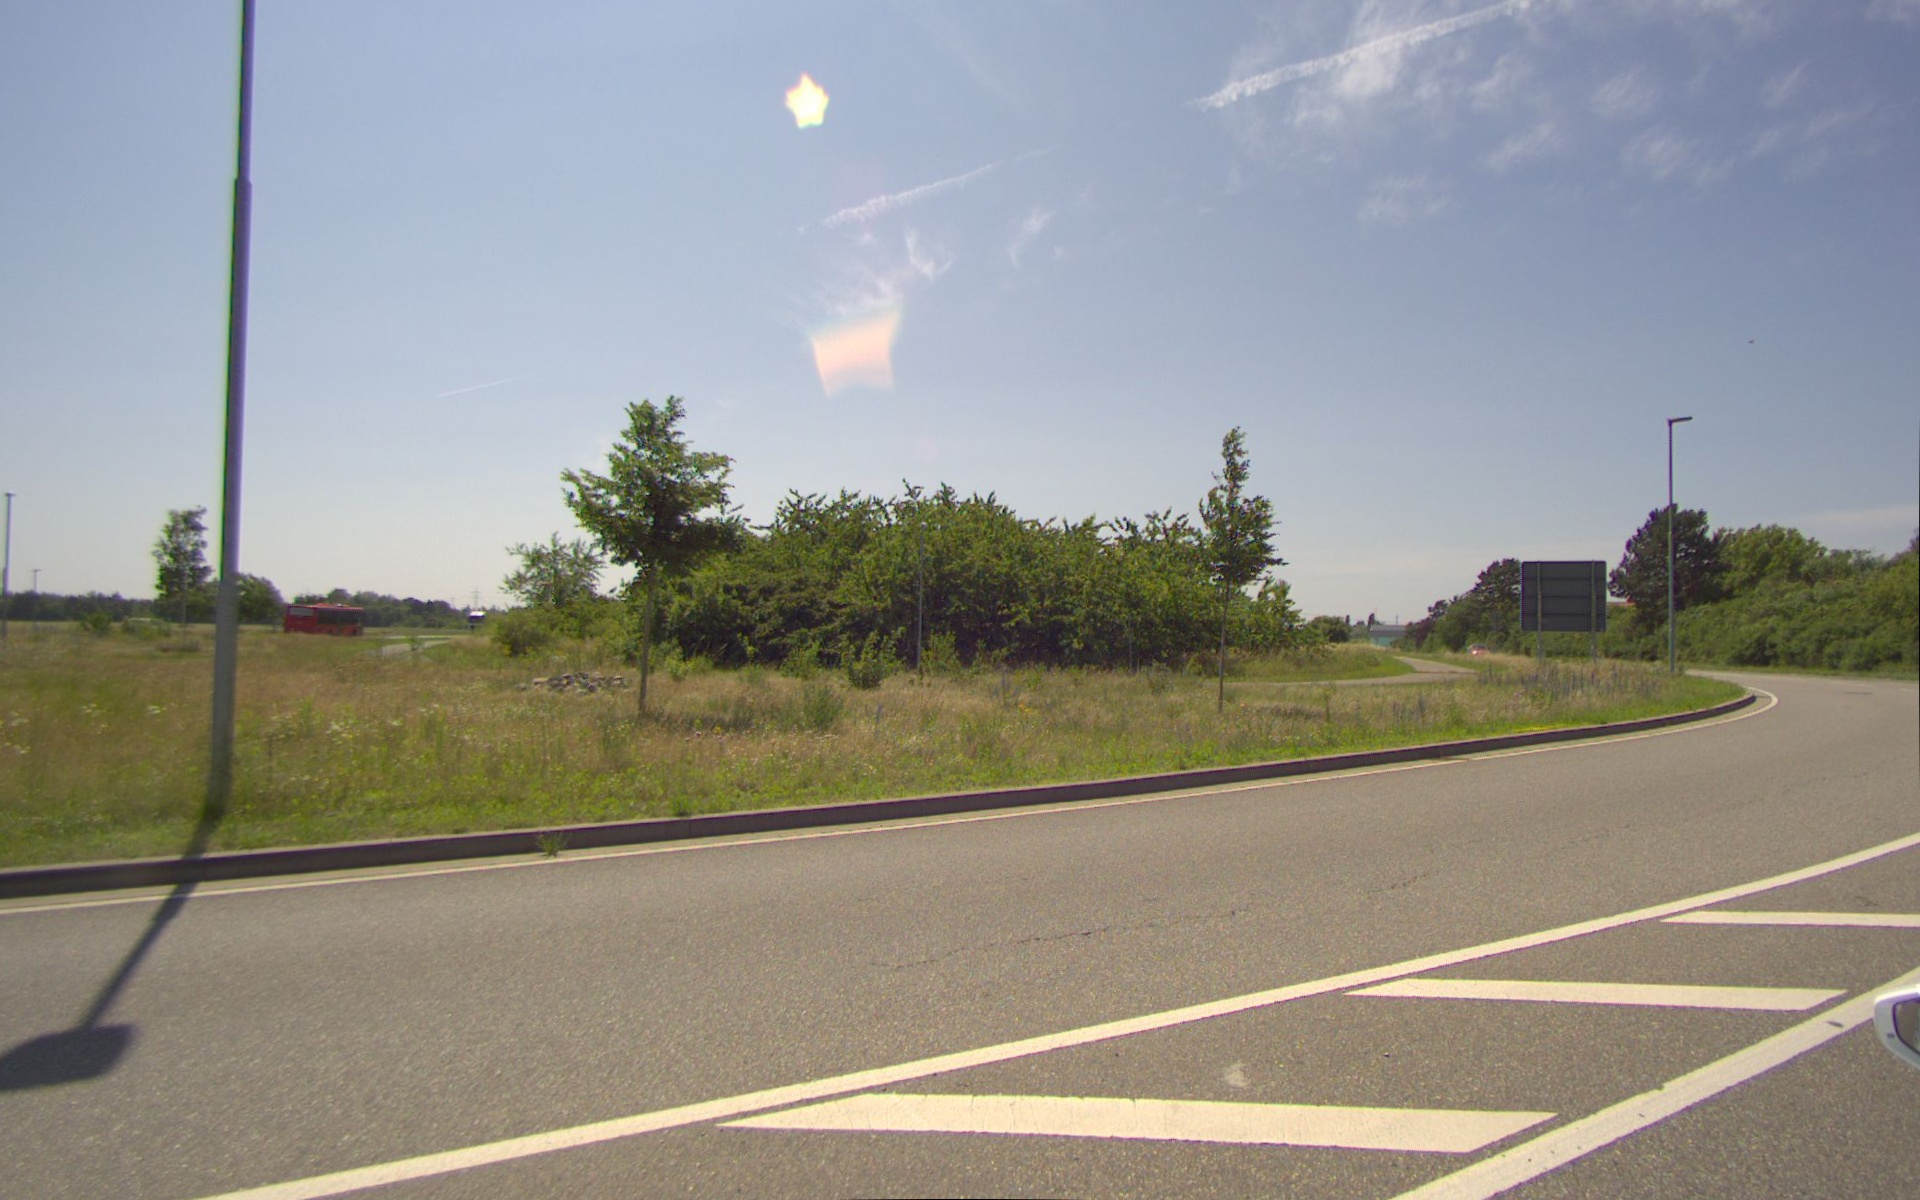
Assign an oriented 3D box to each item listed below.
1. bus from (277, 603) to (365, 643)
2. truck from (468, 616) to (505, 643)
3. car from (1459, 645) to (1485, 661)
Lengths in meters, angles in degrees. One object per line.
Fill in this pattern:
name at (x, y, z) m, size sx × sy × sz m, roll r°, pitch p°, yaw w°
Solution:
bus at (-57.735, 2.161, 91.168) m, size 3.259 × 3.352 × 11.955 m, roll 1°, pitch -2°, yaw -15°
truck at (-81.878, 5.152, 173.983) m, size 3.221 × 4.394 × 12.028 m, roll 1°, pitch -2°, yaw -13°
car at (49.954, 5.156, 98.007) m, size 1.627 × 1.452 × 3.738 m, roll -1°, pitch -3°, yaw 18°
